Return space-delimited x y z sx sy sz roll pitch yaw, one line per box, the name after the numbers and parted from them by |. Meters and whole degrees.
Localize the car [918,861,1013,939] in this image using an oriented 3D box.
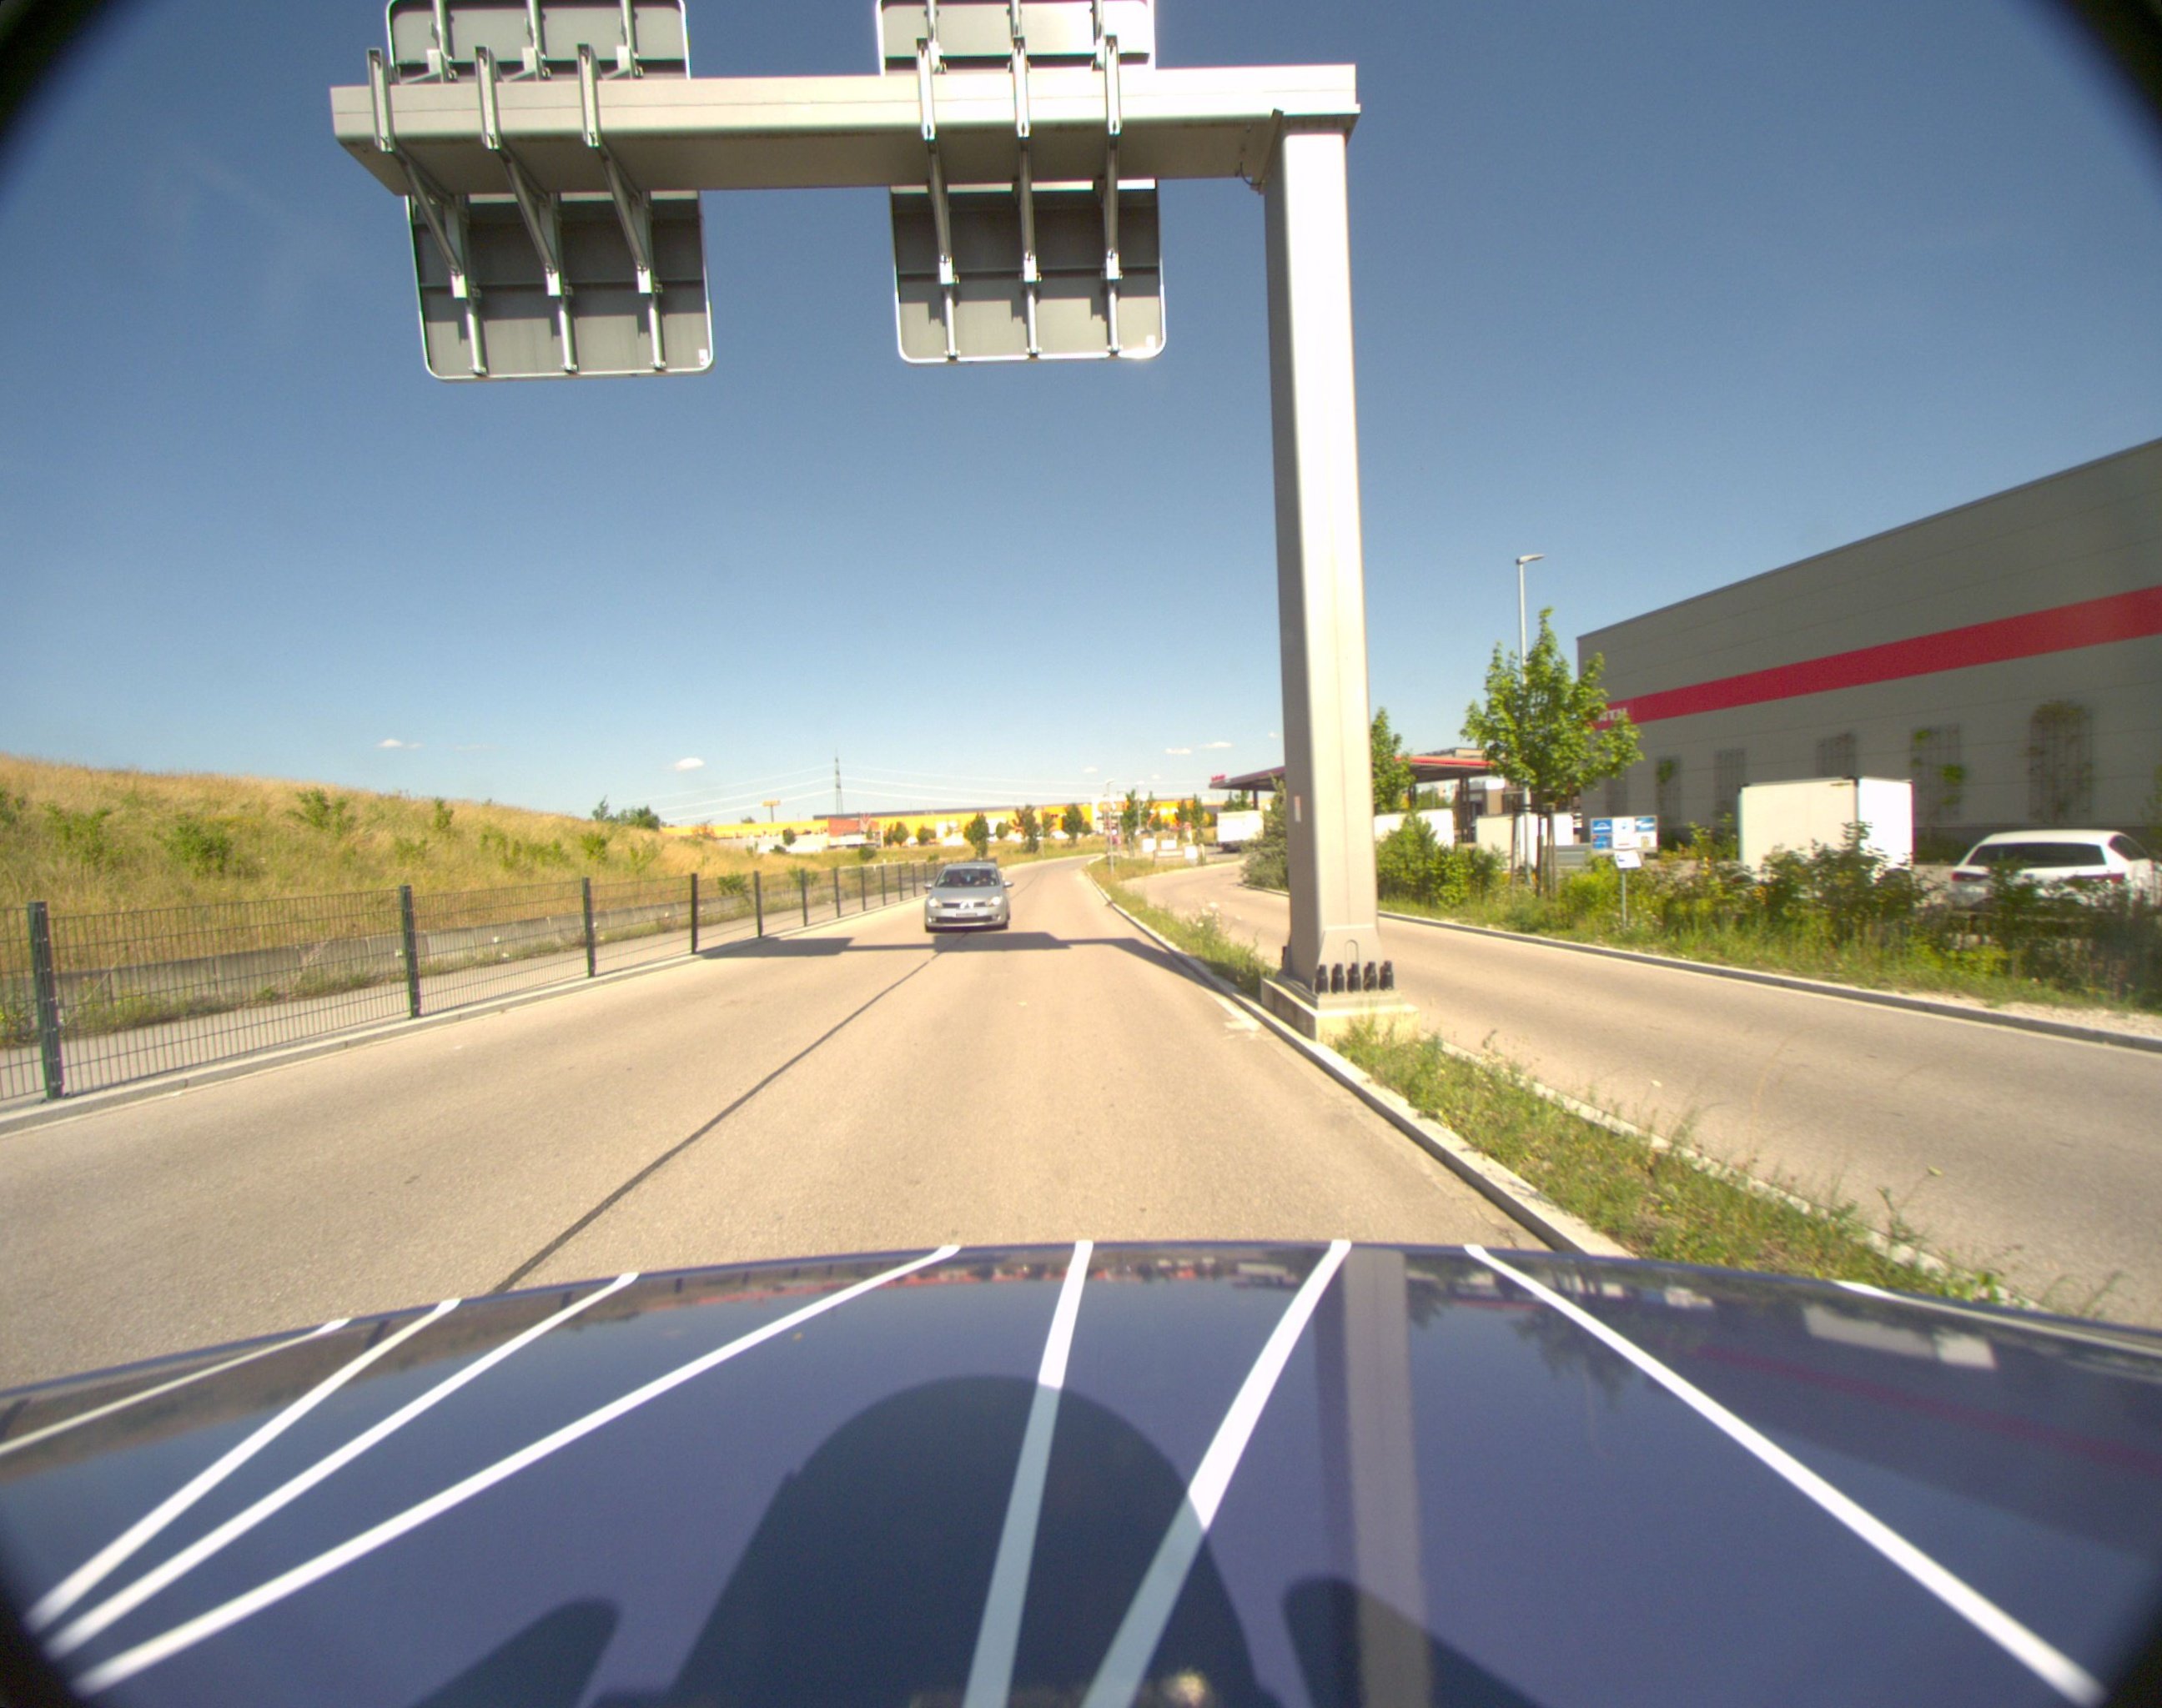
-2.508 0.948 17.366 1.747 1.460 3.958 -1 1 -3 | car

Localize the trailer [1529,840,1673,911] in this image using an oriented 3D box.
13.547 0.512 19.775 3.604 1.502 1.596 -4 1 -29 | trailer

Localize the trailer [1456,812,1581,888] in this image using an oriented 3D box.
12.851 -0.127 22.349 2.740 2.002 1.995 -4 2 -29 | trailer

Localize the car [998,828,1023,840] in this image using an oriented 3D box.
-13.661 -3.824 146.309 4.635 2.002 1.998 -4 2 -6 | car

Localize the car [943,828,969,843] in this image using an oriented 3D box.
-23.886 -3.579 145.627 4.635 2.534 1.998 -4 2 -6 | car

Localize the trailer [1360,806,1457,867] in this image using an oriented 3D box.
11.956 -0.638 27.689 3.212 2.002 1.995 -5 2 -41 | trailer

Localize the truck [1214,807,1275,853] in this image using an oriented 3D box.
13.124 -1.971 60.417 2.635 3.299 6.916 -3 2 29 | truck

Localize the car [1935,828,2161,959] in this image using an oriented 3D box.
14.855 0.486 11.576 4.005 1.527 1.715 -4 2 -31 | car

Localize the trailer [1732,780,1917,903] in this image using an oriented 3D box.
13.821 -0.278 14.105 3.245 2.002 1.744 -4 2 -33 | trailer
